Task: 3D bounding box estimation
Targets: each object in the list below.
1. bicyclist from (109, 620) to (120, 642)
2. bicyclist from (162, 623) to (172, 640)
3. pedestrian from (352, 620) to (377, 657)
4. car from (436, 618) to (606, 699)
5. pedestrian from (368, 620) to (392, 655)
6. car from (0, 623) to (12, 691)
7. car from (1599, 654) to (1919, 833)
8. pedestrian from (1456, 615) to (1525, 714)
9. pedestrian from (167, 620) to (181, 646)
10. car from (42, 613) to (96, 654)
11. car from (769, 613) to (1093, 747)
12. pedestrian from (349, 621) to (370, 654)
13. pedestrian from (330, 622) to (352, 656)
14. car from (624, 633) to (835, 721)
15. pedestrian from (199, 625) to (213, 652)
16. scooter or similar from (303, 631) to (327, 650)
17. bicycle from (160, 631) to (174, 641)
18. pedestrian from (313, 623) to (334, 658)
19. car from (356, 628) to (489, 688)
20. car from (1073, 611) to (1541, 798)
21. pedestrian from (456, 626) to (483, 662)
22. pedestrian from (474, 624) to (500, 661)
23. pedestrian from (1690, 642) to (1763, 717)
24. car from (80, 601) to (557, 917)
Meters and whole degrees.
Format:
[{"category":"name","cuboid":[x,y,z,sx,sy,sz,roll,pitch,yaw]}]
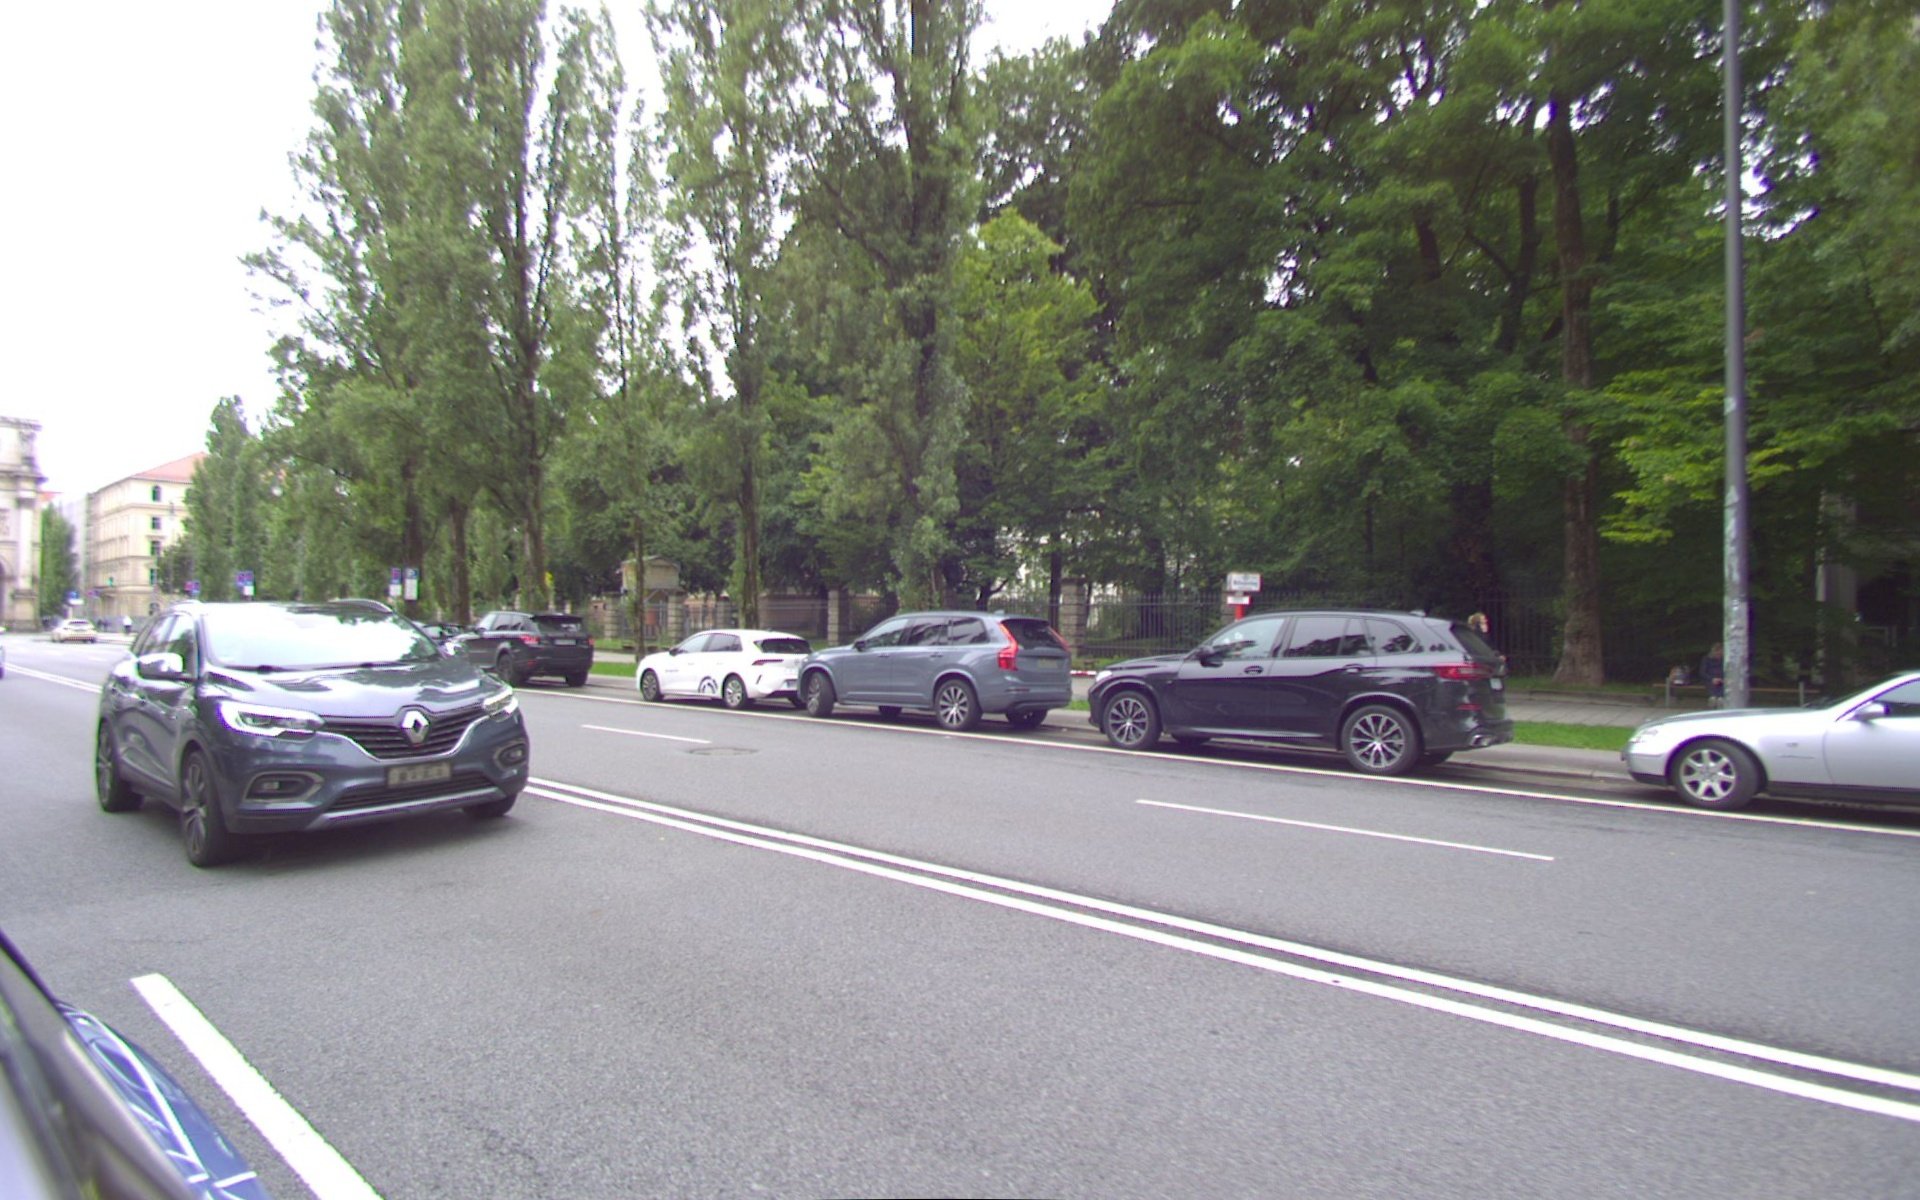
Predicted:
[{"category":"bicyclist","cuboid":[-69.836,2.561,83.625,0.660,1.837,0.583,-2,-1,39]},{"category":"bicyclist","cuboid":[-74.126,2.944,94.591,0.660,1.604,0.639,-2,-1,39]},{"category":"pedestrian","cuboid":[-29.997,1.953,50.974,1.092,1.847,0.702,-1,-2,40]},{"category":"car","cuboid":[-10.888,1.416,24.944,4.799,1.800,2.024,-1,-5,43]},{"category":"pedestrian","cuboid":[-29.533,1.907,51.546,1.092,1.786,0.702,-1,-2,40]},{"category":"car","cuboid":[-23.674,1.303,23.628,4.008,1.537,1.885,-2,-3,42]},{"category":"car","cuboid":[8.019,1.185,8.538,4.231,1.344,1.807,-1,-5,41]},{"category":"pedestrian","cuboid":[9.621,1.150,18.367,0.956,1.755,0.659,-2,-3,41]},{"category":"pedestrian","cuboid":[-53.193,2.248,68.488,0.581,1.744,0.527,-1,-2,30]},{"category":"car","cuboid":[-55.020,2.062,62.456,4.471,1.345,1.774,18,10,38]},{"category":"car","cuboid":[-0.606,1.183,16.062,5.176,1.803,1.889,-1,-5,41]},{"category":"pedestrian","cuboid":[-31.459,1.969,53.048,0.910,1.729,0.653,-2,-3,40]},{"category":"pedestrian","cuboid":[-31.920,2.008,52.176,0.885,1.713,0.681,-2,-3,40]},{"category":"car","cuboid":[-4.476,1.414,19.311,4.270,1.470,1.686,-1,-4,41]},{"category":"pedestrian","cuboid":[-49.049,2.520,65.818,0.581,1.744,0.527,-1,-2,30]},{"category":"scooter or similar","cuboid":[-39.415,2.477,61.876,1.413,1.187,0.738,-1,-4,36]},{"category":"bicycle","cuboid":[-74.082,3.378,94.563,1.912,0.959,0.666,-2,-1,40]},{"category":"pedestrian","cuboid":[-32.483,2.045,51.644,0.907,1.760,0.623,-2,-3,40]},{"category":"car","cuboid":[-15.531,1.636,29.178,4.387,1.596,1.924,-1,-4,41]},{"category":"car","cuboid":[3.928,1.116,11.989,4.891,1.781,1.921,-1,-5,40]},{"category":"pedestrian","cuboid":[-21.162,1.893,43.663,0.875,1.560,0.711,-1,-2,40]},{"category":"pedestrian","cuboid":[-20.680,1.861,44.262,0.812,1.617,0.711,-1,-2,40]},{"category":"pedestrian","cuboid":[13.075,1.327,17.262,0.922,1.187,0.957,-1,-1,41]},{"category":"car","cuboid":[-4.747,0.841,7.222,4.184,1.598,1.816,-1,-1,42]}]
